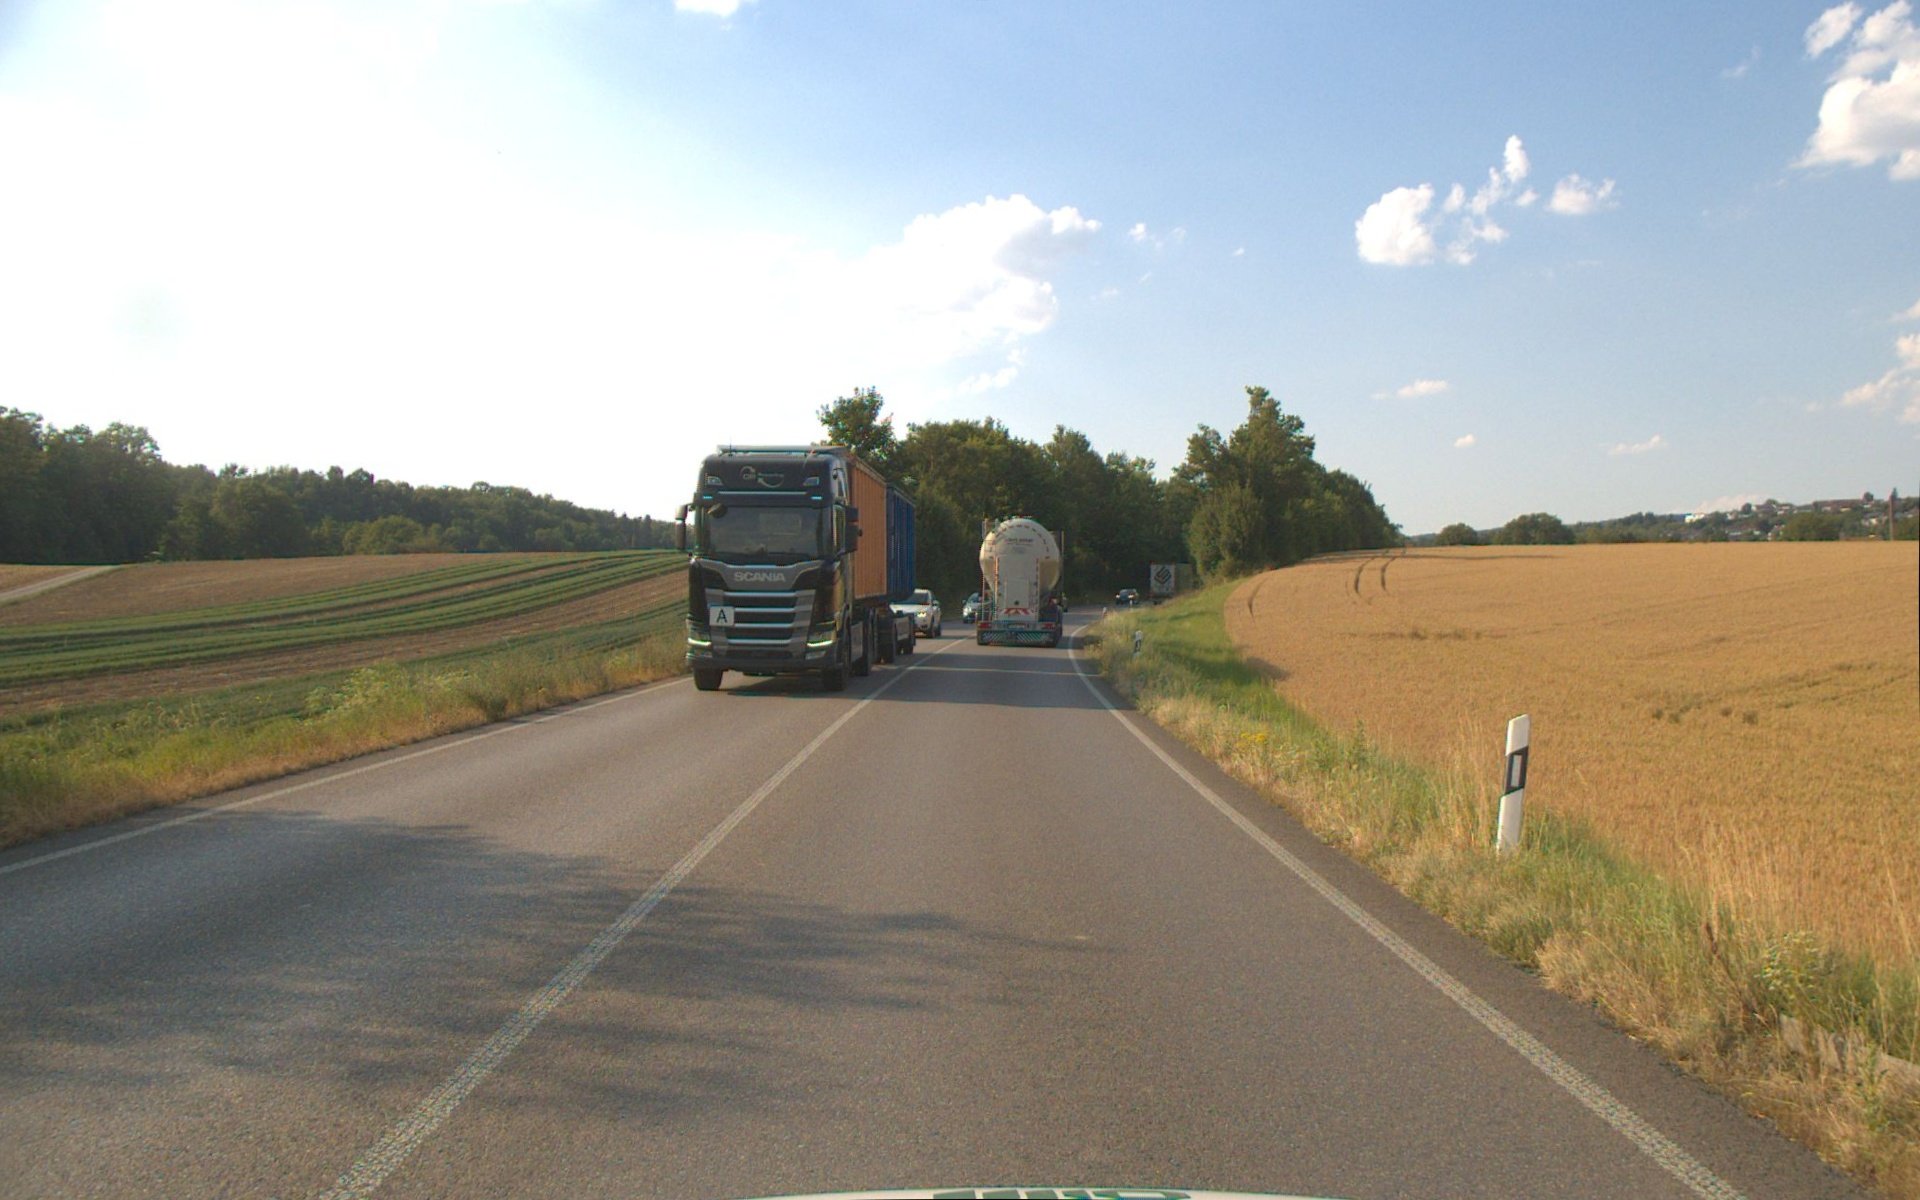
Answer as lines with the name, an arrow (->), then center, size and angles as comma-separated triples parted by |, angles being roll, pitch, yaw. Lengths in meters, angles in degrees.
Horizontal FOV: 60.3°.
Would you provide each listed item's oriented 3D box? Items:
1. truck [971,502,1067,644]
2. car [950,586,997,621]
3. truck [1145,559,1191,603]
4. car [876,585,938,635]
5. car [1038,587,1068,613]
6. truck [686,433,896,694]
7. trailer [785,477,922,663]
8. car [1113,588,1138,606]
truck -> 2.034, -0.795, 56.165 | 2.832, 4.215, 13.175 | 0, 0, 2
car -> 0.726, 0.146, 84.690 | 1.933, 1.679, 4.366 | 0, 1, 7
truck -> 21.119, -1.928, 167.253 | 3.115, 4.301, 13.183 | 0, 1, 14
car -> -1.862, 0.315, 59.058 | 1.934, 1.679, 4.363 | -1, 1, 1
car -> 6.864, -0.014, 122.176 | 1.860, 1.802, 4.496 | 0, 2, 8
truck -> -2.802, -0.623, 30.530 | 2.339, 3.989, 10.163 | 0, 1, 3
trailer -> -2.398, -0.704, 40.134 | 2.315, 3.989, 8.964 | 0, 1, 3
car -> 16.674, -0.327, 166.605 | 1.933, 1.679, 4.740 | 0, 1, 13
